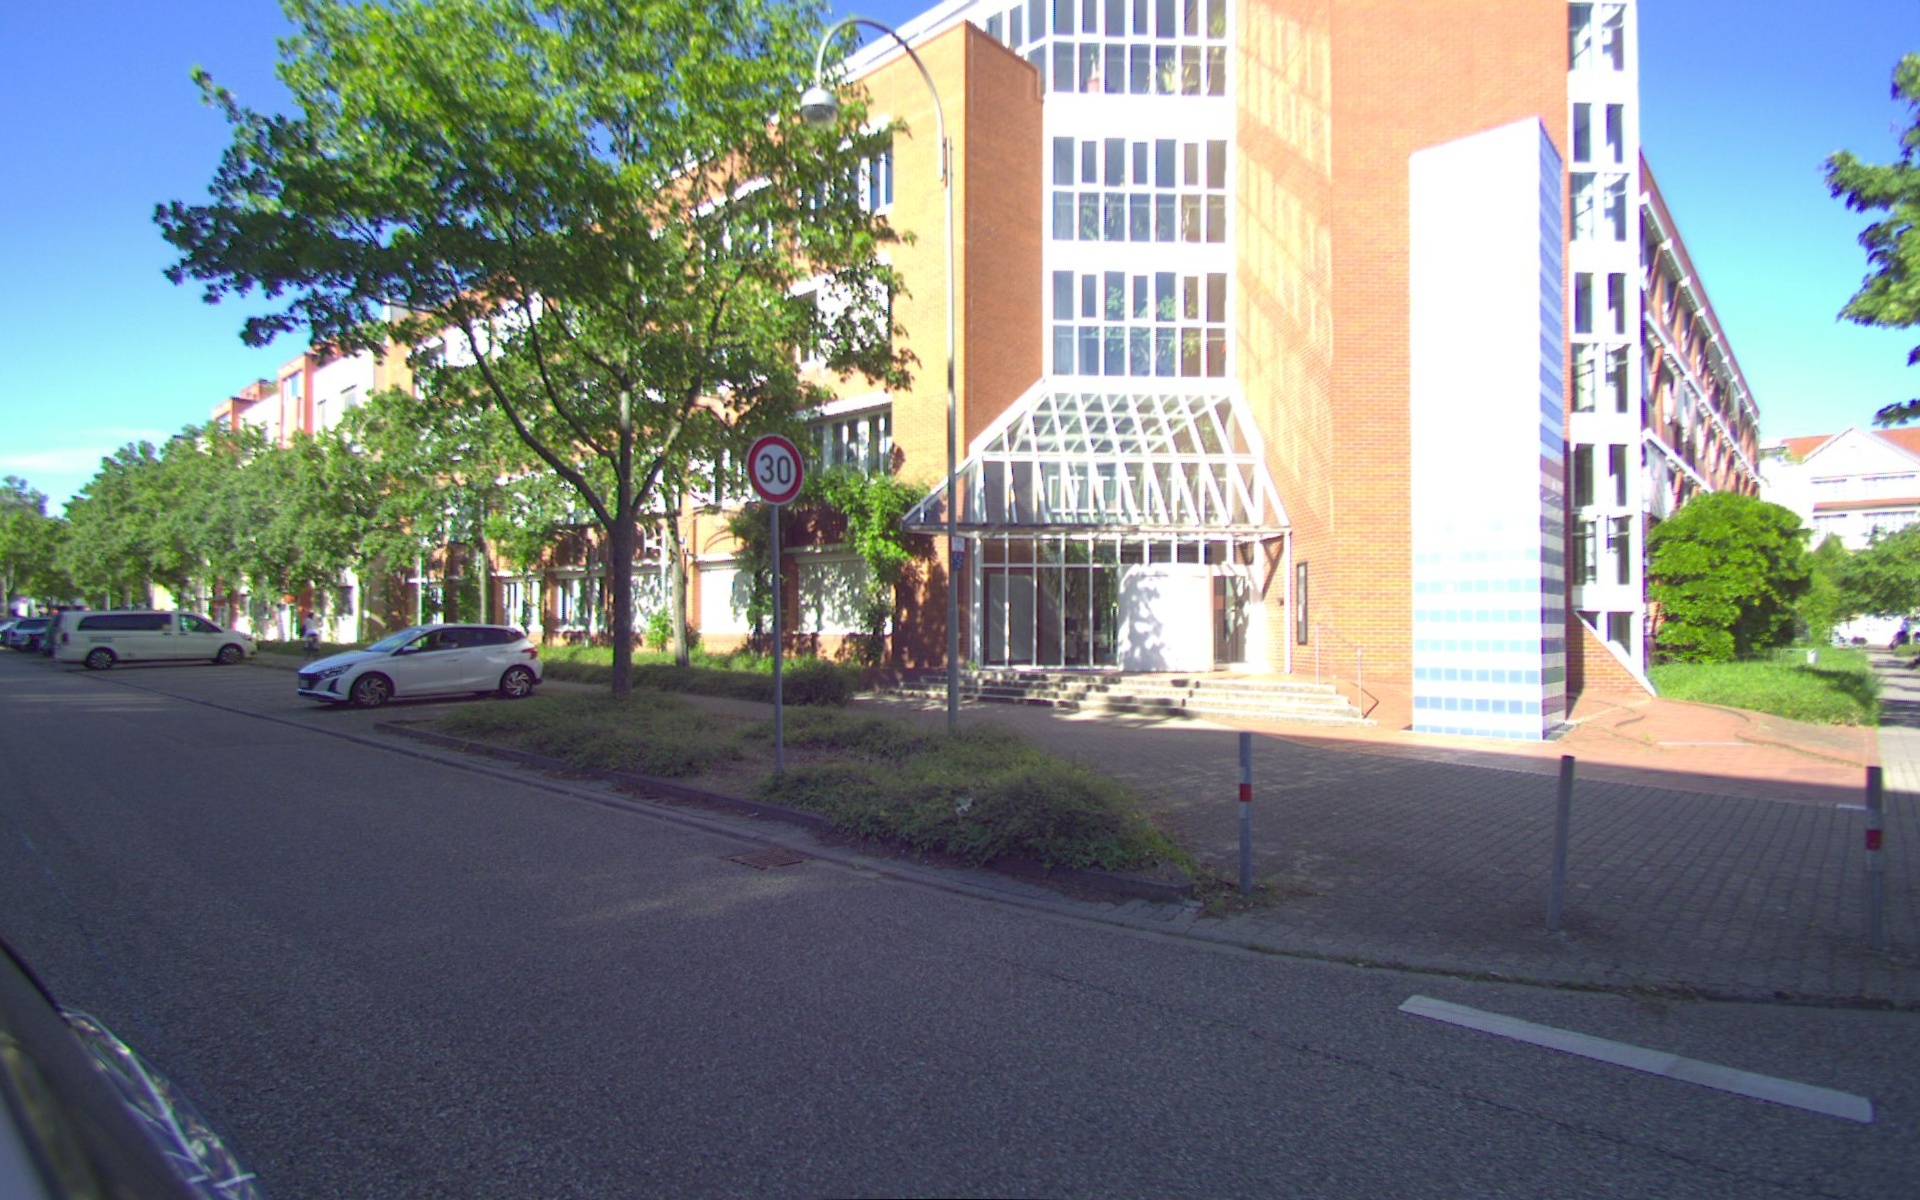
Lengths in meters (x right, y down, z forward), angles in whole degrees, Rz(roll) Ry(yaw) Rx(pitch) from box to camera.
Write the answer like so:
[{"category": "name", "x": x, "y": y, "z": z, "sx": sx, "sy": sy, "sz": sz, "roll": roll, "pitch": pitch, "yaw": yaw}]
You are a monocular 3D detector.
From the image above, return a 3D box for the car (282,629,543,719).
[{"category": "car", "x": -10.003, "y": 1.273, "z": 18.731, "sx": 1.617, "sy": 1.430, "sz": 3.951, "roll": -2, "pitch": -1, "yaw": 41}]

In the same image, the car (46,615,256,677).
[{"category": "car", "x": -26.817, "y": 1.465, "z": 33.714, "sx": 2.000, "sy": 1.901, "sz": 5.246, "roll": -2, "pitch": -2, "yaw": 43}]

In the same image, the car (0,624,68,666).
[{"category": "car", "x": -39.153, "y": 1.832, "z": 41.311, "sx": 1.795, "sy": 1.659, "sz": 3.953, "roll": -2, "pitch": -3, "yaw": 43}]

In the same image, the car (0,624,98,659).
[{"category": "car", "x": -45.235, "y": 2.072, "z": 50.288, "sx": 1.594, "sy": 1.641, "sz": 3.405, "roll": -2, "pitch": -3, "yaw": 42}]

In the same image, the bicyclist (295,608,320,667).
[{"category": "bicyclist", "x": -22.658, "y": 1.281, "z": 35.130, "sx": 0.625, "sy": 2.029, "sz": 0.609, "roll": 0, "pitch": -1, "yaw": -45}]

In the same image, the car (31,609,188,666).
[{"category": "car", "x": -34.198, "y": 1.536, "z": 40.781, "sx": 2.000, "sy": 2.186, "sz": 4.571, "roll": -2, "pitch": -3, "yaw": 43}]

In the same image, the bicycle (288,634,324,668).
[{"category": "bicycle", "x": -22.656, "y": 1.753, "z": 35.053, "sx": 0.628, "sy": 1.107, "sz": 2.157, "roll": 3, "pitch": -3, "yaw": -43}]

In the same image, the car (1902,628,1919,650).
[{"category": "car", "x": 74.360, "y": 3.039, "z": 78.448, "sx": 3.940, "sy": 1.686, "sz": 1.778, "roll": 3, "pitch": -3, "yaw": -44}]

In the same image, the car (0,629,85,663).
[{"category": "car", "x": -46.868, "y": 2.350, "z": 51.439, "sx": 1.594, "sy": 1.669, "sz": 3.405, "roll": -2, "pitch": -3, "yaw": 42}]

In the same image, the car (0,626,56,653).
[{"category": "car", "x": -58.910, "y": 2.453, "z": 63.278, "sx": 1.594, "sy": 1.669, "sz": 3.405, "roll": -2, "pitch": -3, "yaw": 42}]

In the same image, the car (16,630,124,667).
[{"category": "car", "x": -39.411, "y": 2.137, "z": 44.870, "sx": 1.594, "sy": 1.567, "sz": 3.405, "roll": -2, "pitch": -3, "yaw": 42}]
